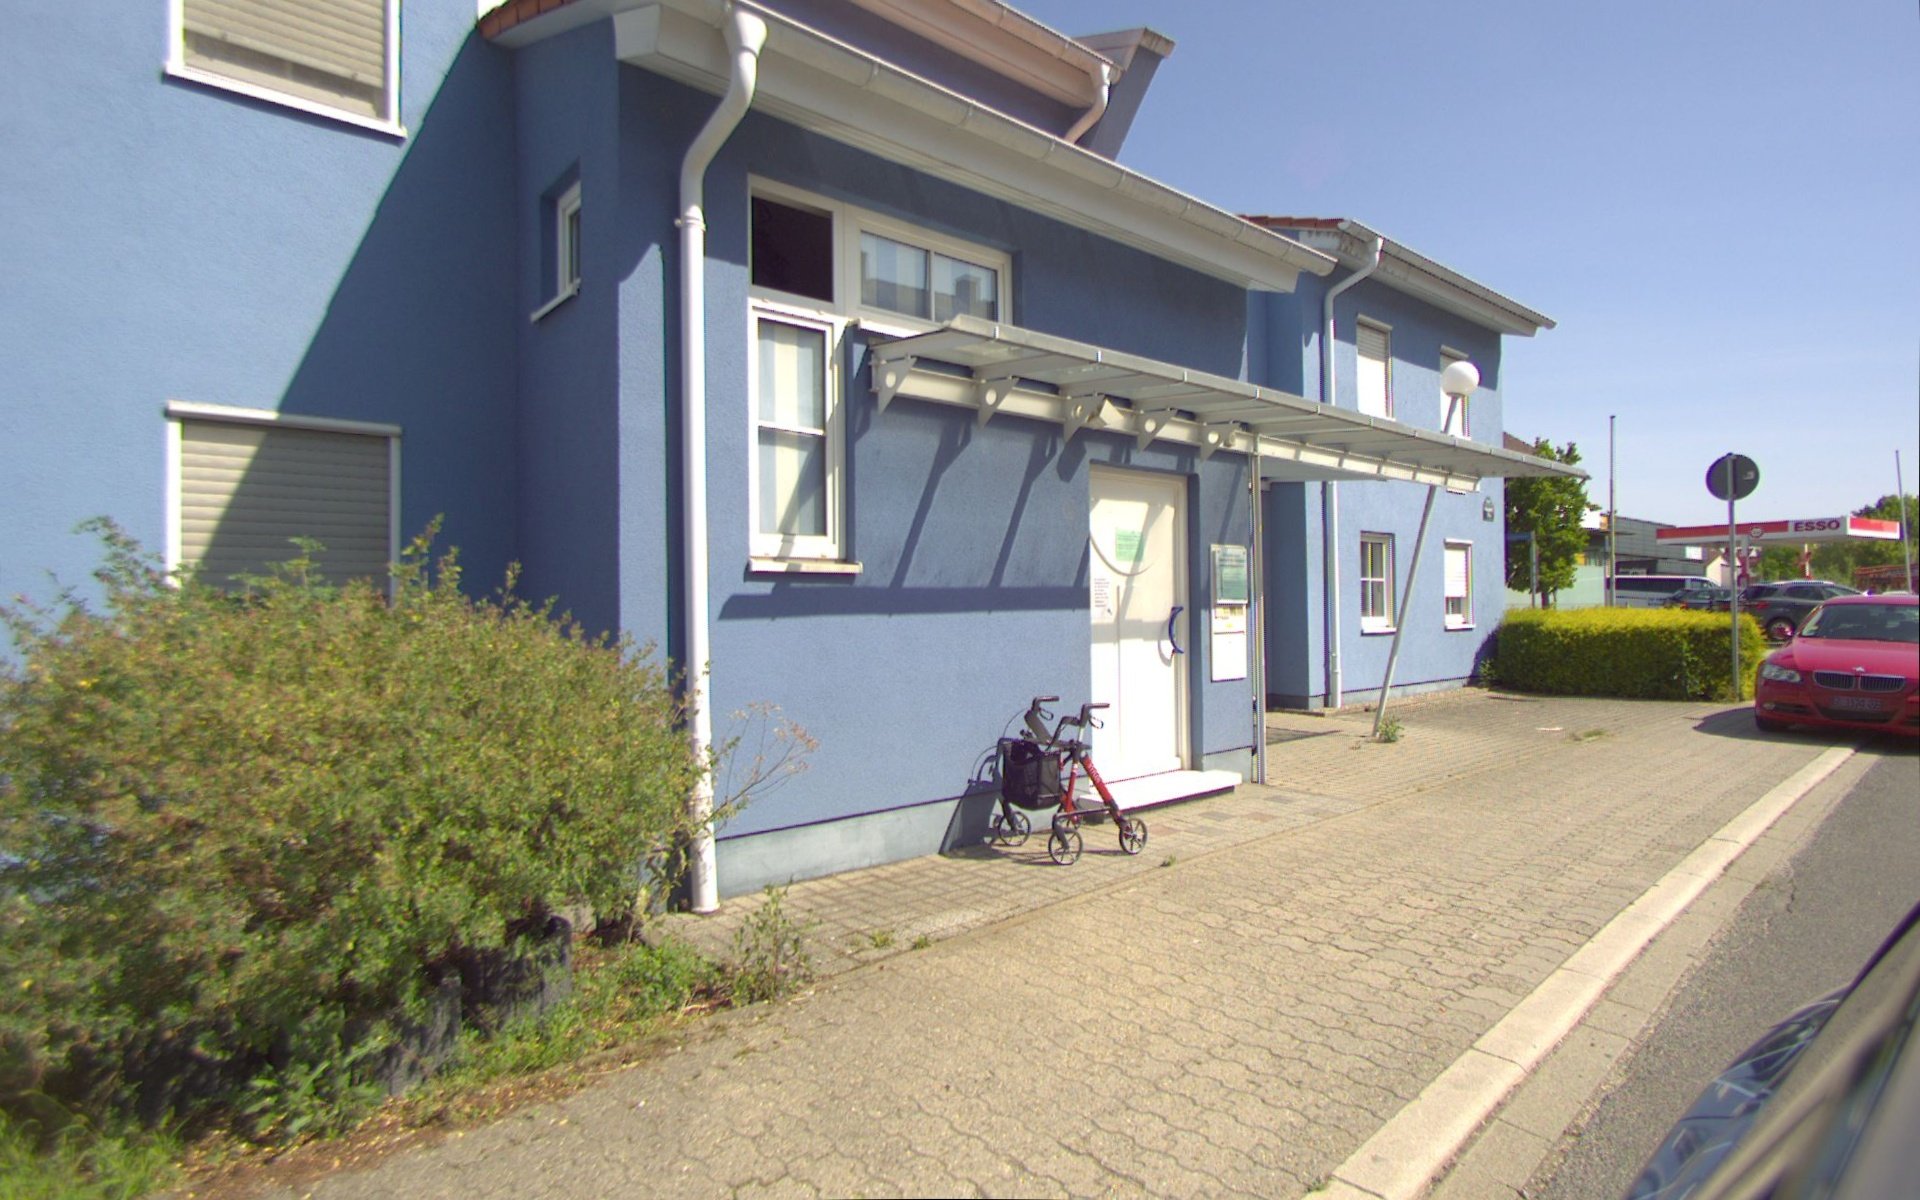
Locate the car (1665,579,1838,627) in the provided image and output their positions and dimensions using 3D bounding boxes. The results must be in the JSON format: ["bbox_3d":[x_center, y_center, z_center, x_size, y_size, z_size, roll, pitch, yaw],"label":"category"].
[{"bbox_3d":[27.075,0.090,34.813,4.266,1.570,1.970,0,0,22],"label":"car"}]

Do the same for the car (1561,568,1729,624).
[{"bbox_3d":[26.424,-0.138,39.286,5.246,2.039,2.206,0,0,33],"label":"car"}]

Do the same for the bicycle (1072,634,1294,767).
[{"bbox_3d":[1.937,0.836,9.053,0.645,0.993,1.958,0,0,-40],"label":"bicycle"}]

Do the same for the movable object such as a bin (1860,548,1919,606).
[{"bbox_3d":[70.207,-1.632,66.717,2.719,4.069,16.112,0,0,-32],"label":"movable object such as a bin"}]

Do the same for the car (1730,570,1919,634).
[{"bbox_3d":[24.009,0.064,27.878,4.065,1.674,1.818,0,0,22],"label":"car"}]

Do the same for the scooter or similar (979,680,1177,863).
[{"bbox_3d":[0.653,0.906,5.641,0.812,0.825,0.729,-1,0,-38],"label":"scooter or similar"}]

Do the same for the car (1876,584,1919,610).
[{"bbox_3d":[59.969,-0.189,64.218,4.259,1.612,2.003,-1,0,-38],"label":"car"}]

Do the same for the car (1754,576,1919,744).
[{"bbox_3d":[10.141,0.508,10.730,4.275,1.513,1.737,-1,1,-38],"label":"car"}]
